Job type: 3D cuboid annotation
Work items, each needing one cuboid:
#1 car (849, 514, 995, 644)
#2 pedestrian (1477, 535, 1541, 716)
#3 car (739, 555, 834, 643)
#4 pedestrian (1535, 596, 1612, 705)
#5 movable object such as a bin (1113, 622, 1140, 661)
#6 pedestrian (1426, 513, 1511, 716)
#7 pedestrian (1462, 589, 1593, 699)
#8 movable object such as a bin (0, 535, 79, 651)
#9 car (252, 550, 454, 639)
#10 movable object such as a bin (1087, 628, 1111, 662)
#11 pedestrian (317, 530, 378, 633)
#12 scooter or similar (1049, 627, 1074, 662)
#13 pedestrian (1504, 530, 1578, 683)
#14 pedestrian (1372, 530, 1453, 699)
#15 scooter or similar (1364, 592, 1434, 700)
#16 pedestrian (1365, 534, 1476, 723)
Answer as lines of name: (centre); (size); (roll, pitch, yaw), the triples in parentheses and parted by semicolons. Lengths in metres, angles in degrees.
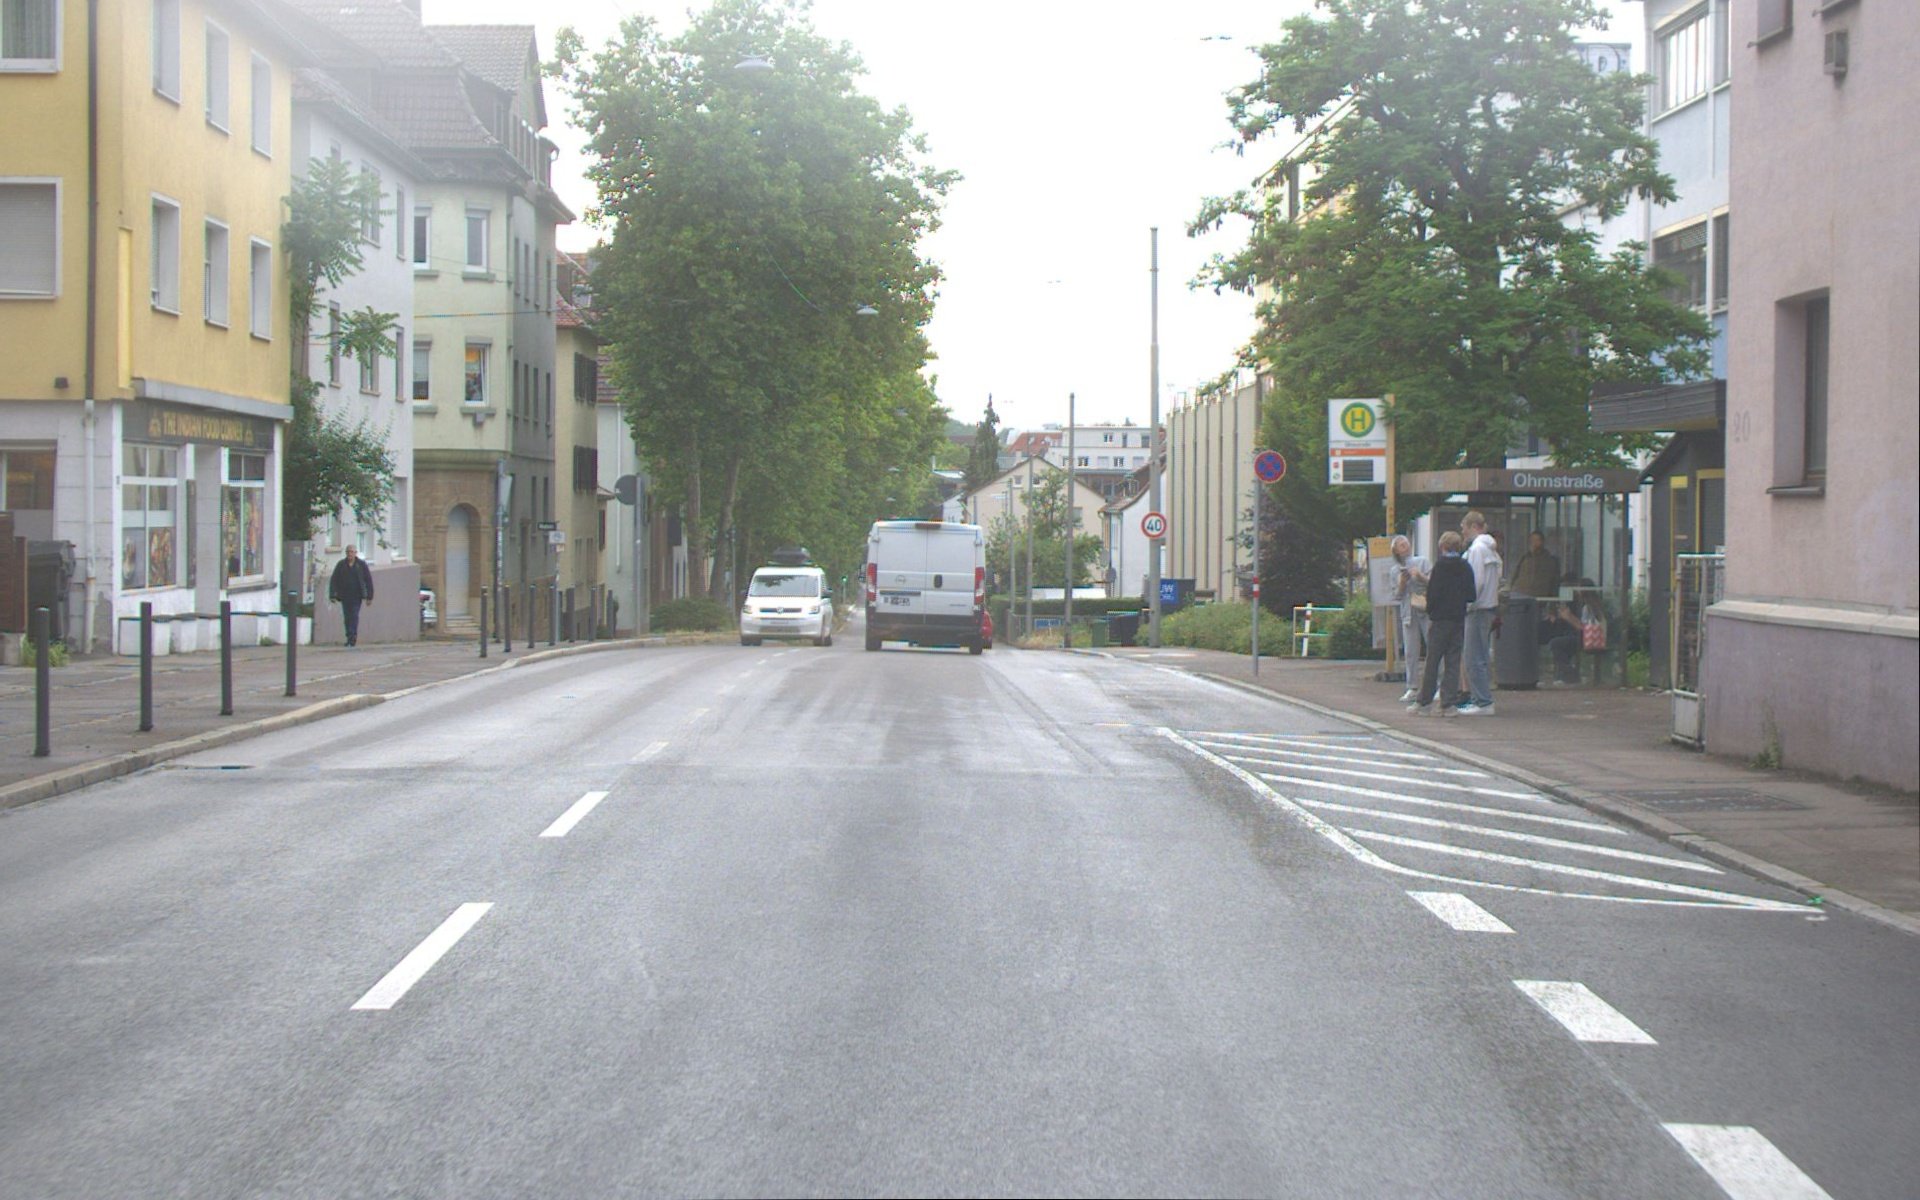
car: (-0.716, -0.402, 60.268); (2.346, 2.153, 4.778); (1, 1, -3)
pedestrian: (5.212, 0.240, 32.635); (0.447, 1.702, 0.557); (-1, 0, 22)
car: (-3.802, -0.009, 75.831); (1.882, 1.863, 4.453); (1, 0, 0)
pedestrian: (6.854, 0.556, 38.436); (0.660, 1.195, 0.742); (0, 0, -6)
movable object such as a bin: (4.677, 1.163, 96.690); (0.695, 1.078, 0.778); (-2, -1, 0)
pedestrian: (4.754, 0.134, 32.129); (0.487, 1.869, 0.631); (-1, 0, 39)
pedestrian: (6.607, 0.506, 40.030); (1.355, 1.269, 0.742); (0, 0, -6)
movable object such as a bin: (-11.622, -0.097, 42.267); (1.301, 1.397, 0.983); (2, 0, -1)
car: (-13.966, -0.127, 79.268); (4.182, 1.698, 2.000); (4, 0, 0)
movable object such as a bin: (3.894, 1.259, 96.526); (0.619, 0.933, 0.686); (-2, -1, 0)
pedestrian: (-10.148, -0.299, 56.962); (0.815, 1.673, 0.993); (2, -1, -3)
scooter or similar: (3.399, 1.481, 115.422); (0.605, 1.158, 1.700); (1, -1, -5)
pedestrian: (6.990, 0.073, 41.365); (0.647, 1.825, 0.740); (0, 0, 31)
pedestrian: (4.695, 0.142, 35.702); (0.660, 1.735, 0.829); (0, 0, -6)
scooter or similar: (4.649, 0.483, 36.420); (0.617, 1.136, 0.568); (0, 0, -6)
pedestrian: (4.238, 0.261, 31.663); (0.634, 1.704, 0.749); (-2, 0, -34)
